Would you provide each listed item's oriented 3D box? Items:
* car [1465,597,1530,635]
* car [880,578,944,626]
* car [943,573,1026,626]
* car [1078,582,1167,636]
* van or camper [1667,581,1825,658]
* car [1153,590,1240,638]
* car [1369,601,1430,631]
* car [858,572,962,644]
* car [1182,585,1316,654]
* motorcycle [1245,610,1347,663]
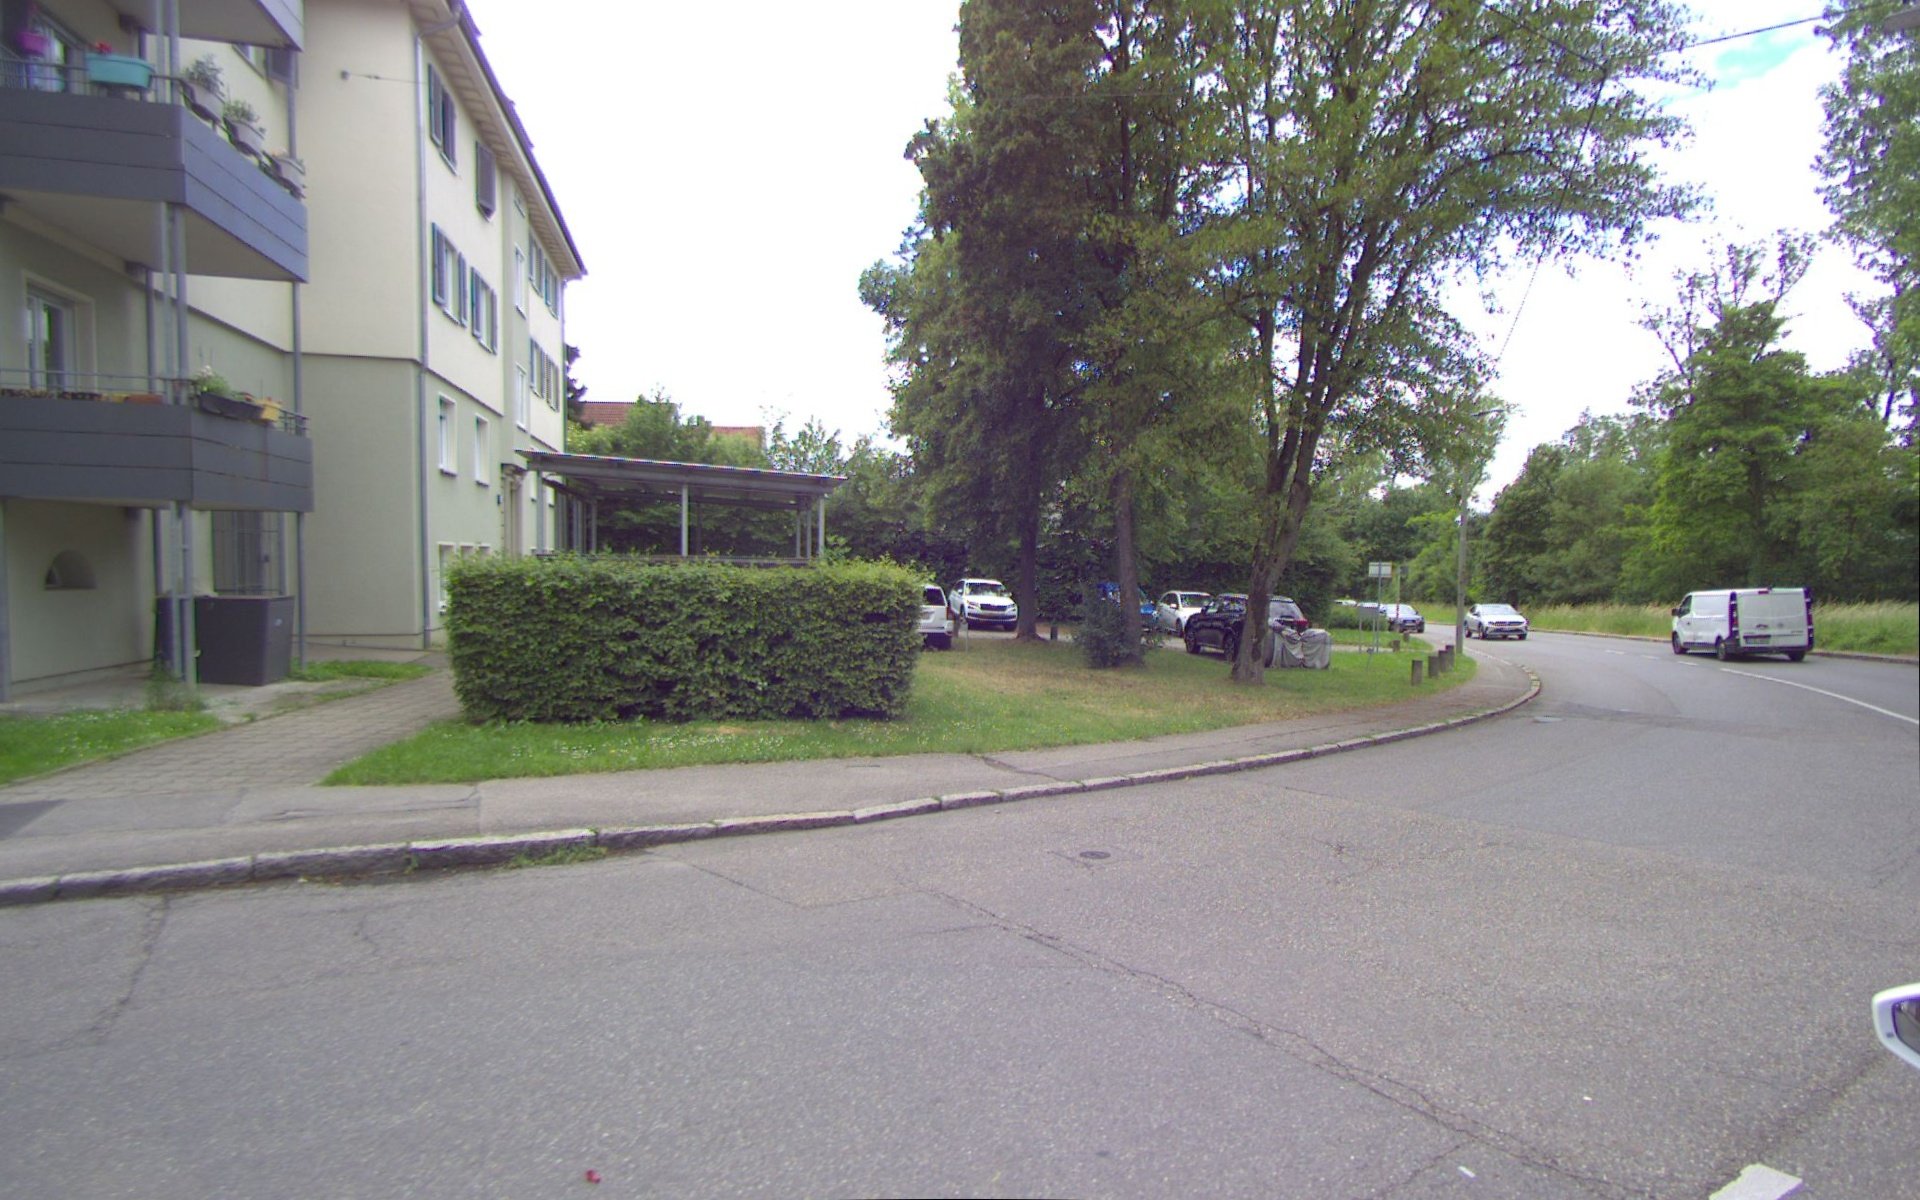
[{"bbox_3d":[23.101,0.670,43.301,1.696,1.476,4.080,-3,-2,18],"label":"car"},{"bbox_3d":[-1.730,0.028,35.006,1.845,1.513,4.192,1,1,-8],"label":"car"},{"bbox_3d":[0.770,-0.086,34.899,1.973,1.700,4.487,1,1,-11],"label":"car"},{"bbox_3d":[5.728,0.260,35.940,1.717,1.755,4.253,1,1,-12],"label":"car"},{"bbox_3d":[22.187,0.458,28.618,1.986,1.983,4.896,0,1,18],"label":"van or camper"},{"bbox_3d":[8.409,0.457,36.105,1.714,1.615,4.267,1,1,-6],"label":"car"},{"bbox_3d":[22.457,0.769,51.445,1.705,1.437,4.506,-1,0,8],"label":"car"},{"bbox_3d":[-1.320,0.126,24.395,1.922,1.554,4.581,1,1,-10],"label":"car"},{"bbox_3d":[7.335,0.446,25.983,1.715,1.615,4.327,1,1,-8],"label":"car"},{"bbox_3d":[7.667,0.831,22.953,2.028,1.167,0.864,1,1,-8],"label":"motorcycle"}]
